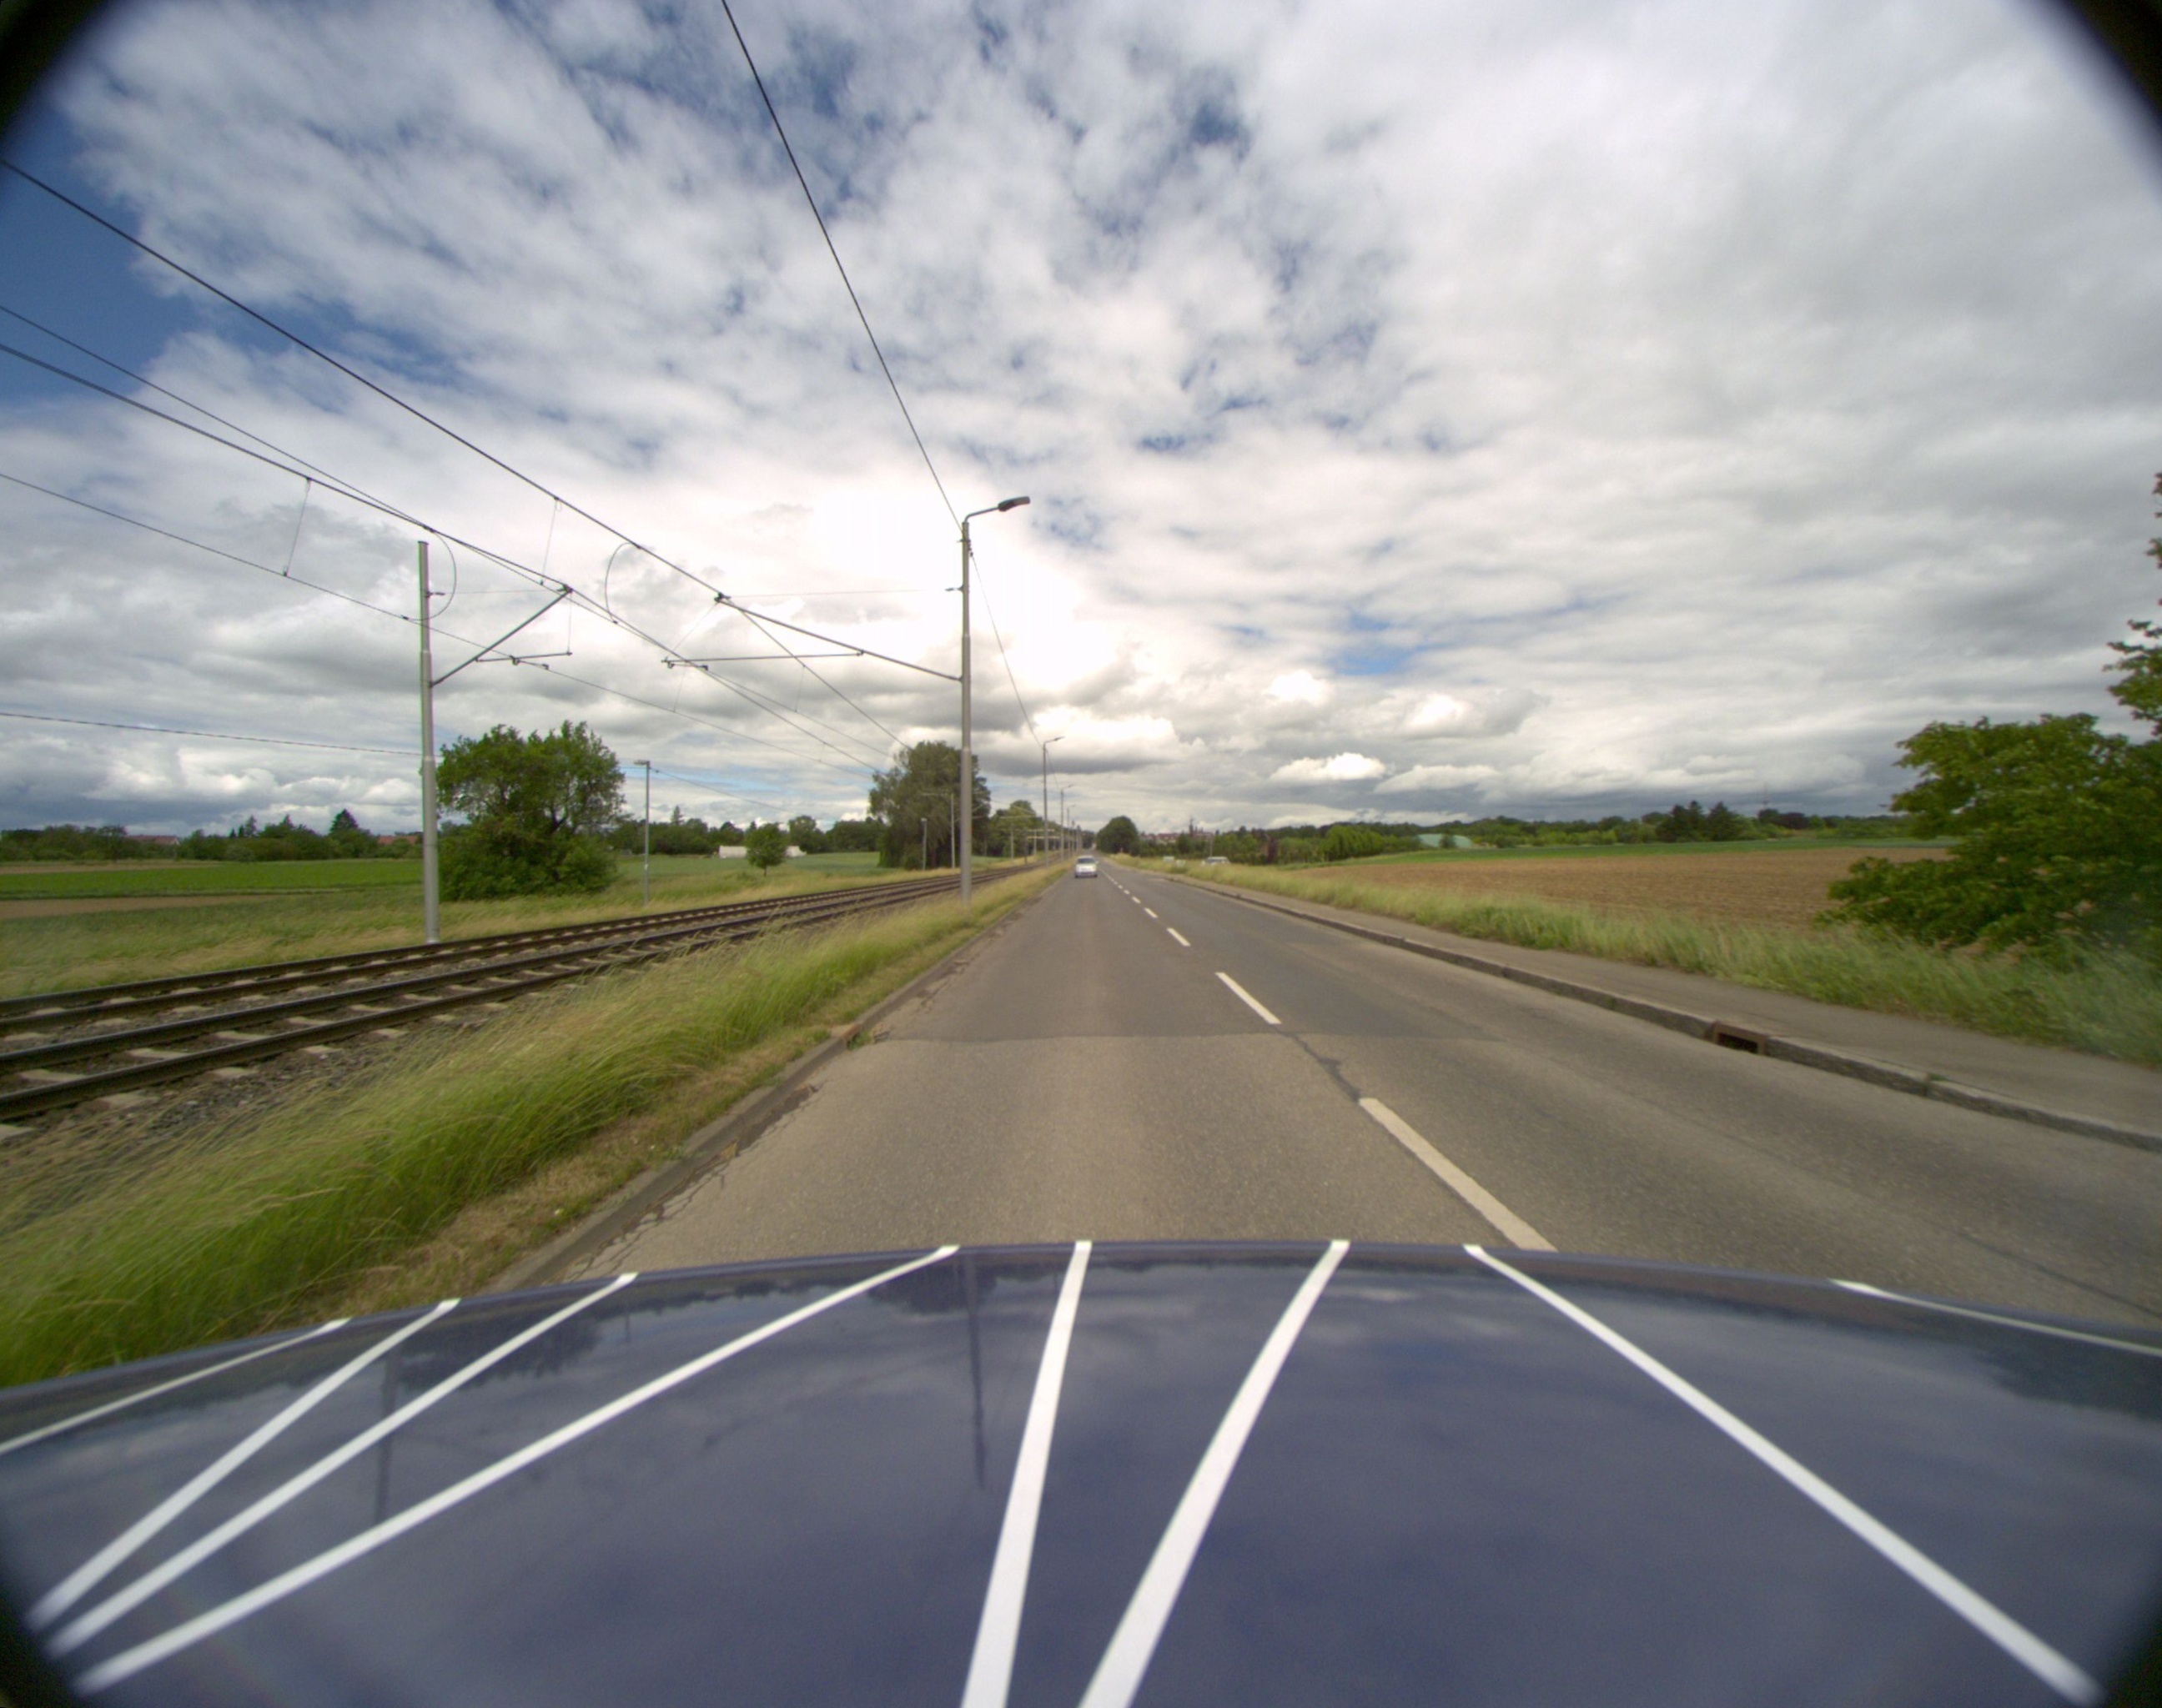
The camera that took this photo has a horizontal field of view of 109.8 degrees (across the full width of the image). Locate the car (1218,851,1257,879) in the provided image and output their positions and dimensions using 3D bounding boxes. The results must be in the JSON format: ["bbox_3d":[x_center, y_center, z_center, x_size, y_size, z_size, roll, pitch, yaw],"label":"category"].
[{"bbox_3d":[8.975,0.603,43.842,1.472,1.439,3.868,-2,1,1],"label":"car"}]

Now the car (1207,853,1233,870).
[{"bbox_3d":[11.120,0.597,61.079,1.451,1.244,3.599,-2,1,1],"label":"car"}]

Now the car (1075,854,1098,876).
[{"bbox_3d":[0.438,0.831,58.067,1.643,1.510,3.868,-2,1,1],"label":"car"}]

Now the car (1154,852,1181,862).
[{"bbox_3d":[11.447,0.401,100.963,3.216,1.244,1.455,-2,1,29],"label":"car"}]
